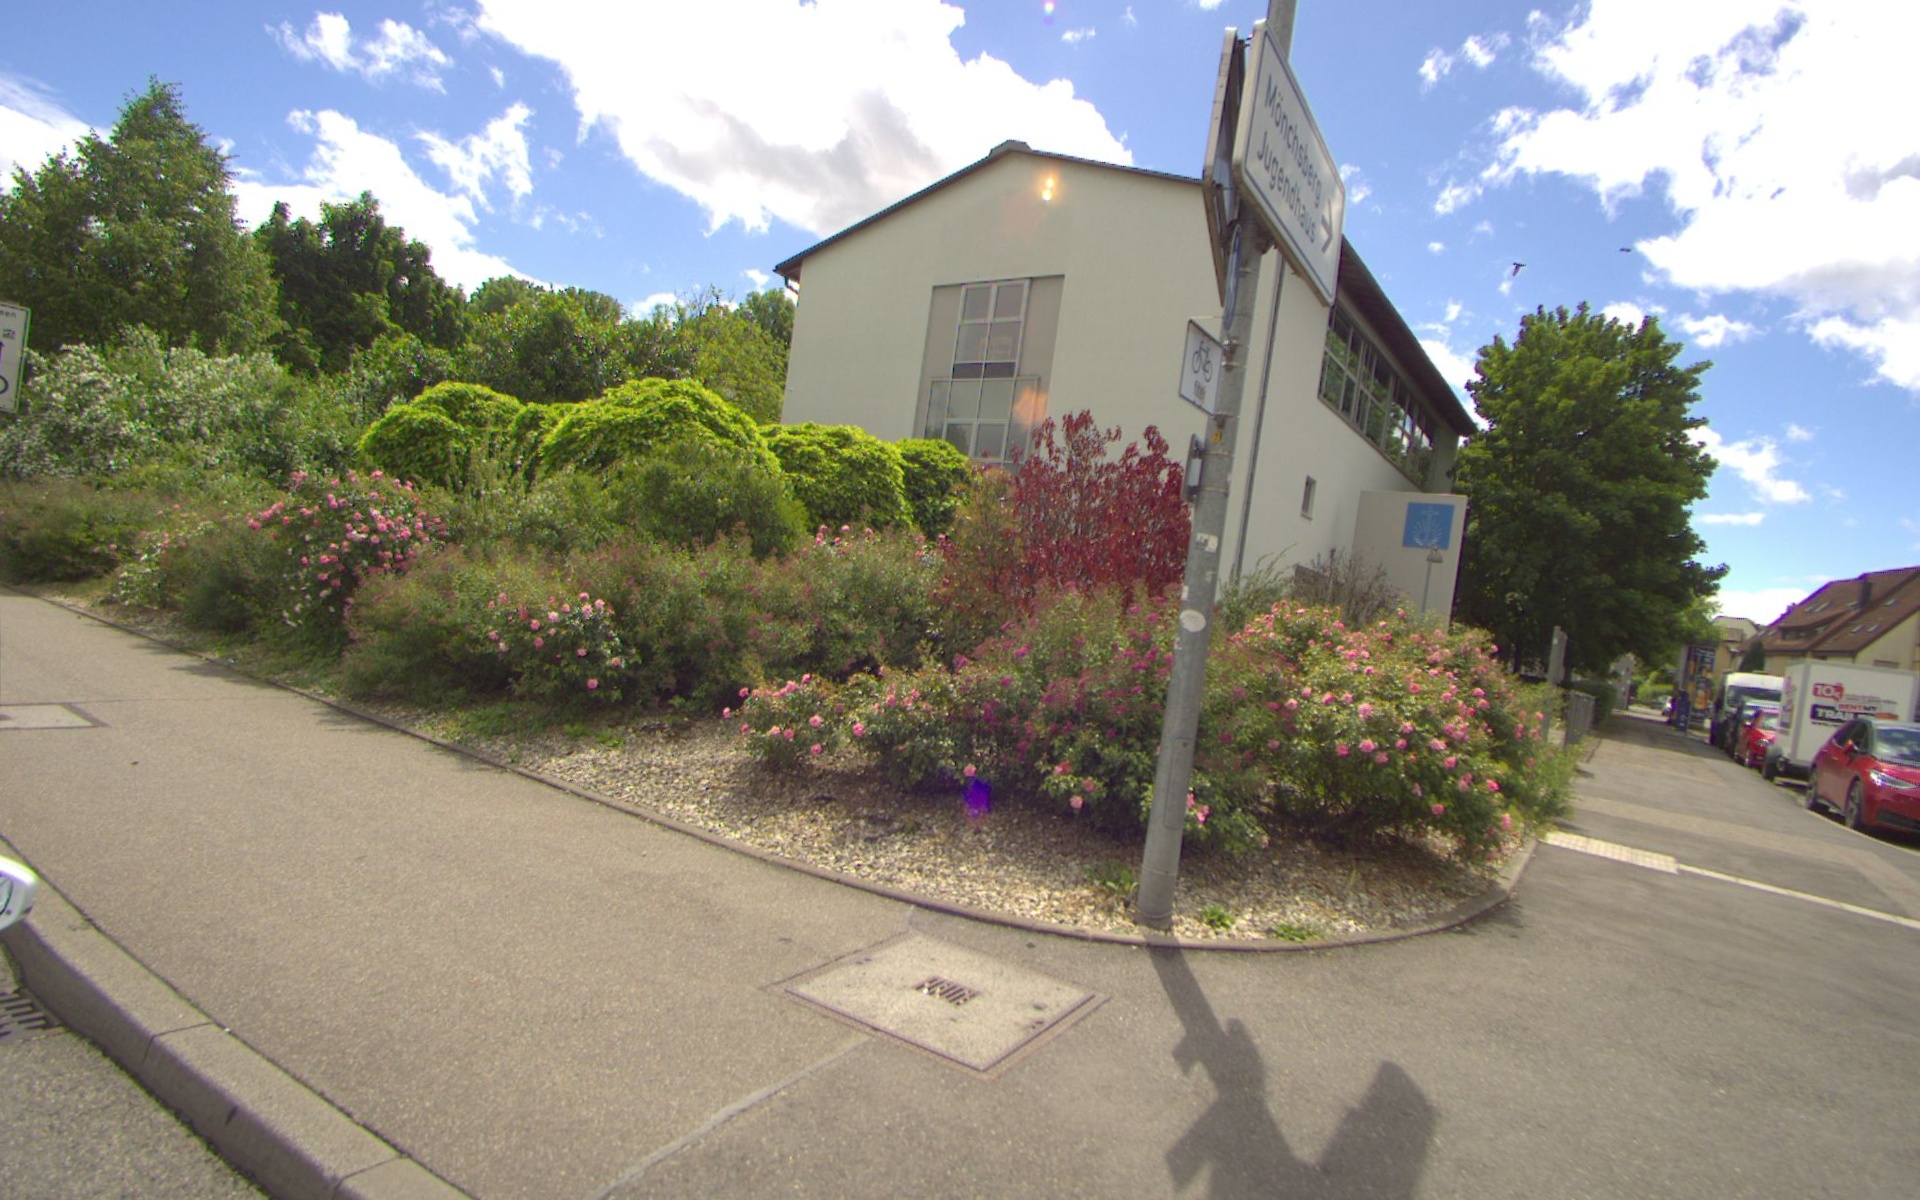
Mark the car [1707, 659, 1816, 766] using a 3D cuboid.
[{"bbox_3d":[26.037,3.602,32.868,2.170,2.902,5.578,8,0,36],"label":"car"}]

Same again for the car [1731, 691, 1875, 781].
[{"bbox_3d":[19.406,3.061,23.353,1.968,1.521,4.082,9,2,34],"label":"car"}]

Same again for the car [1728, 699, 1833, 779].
[{"bbox_3d":[22.359,3.733,27.566,1.879,1.744,3.986,8,0,37],"label":"car"}]

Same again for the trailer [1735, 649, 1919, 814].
[{"bbox_3d":[16.975,2.490,19.750,2.186,2.517,4.541,9,0,35],"label":"trailer"}]

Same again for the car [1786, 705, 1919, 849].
[{"bbox_3d":[13.065,2.440,13.704,1.966,1.581,4.162,10,1,31],"label":"car"}]
